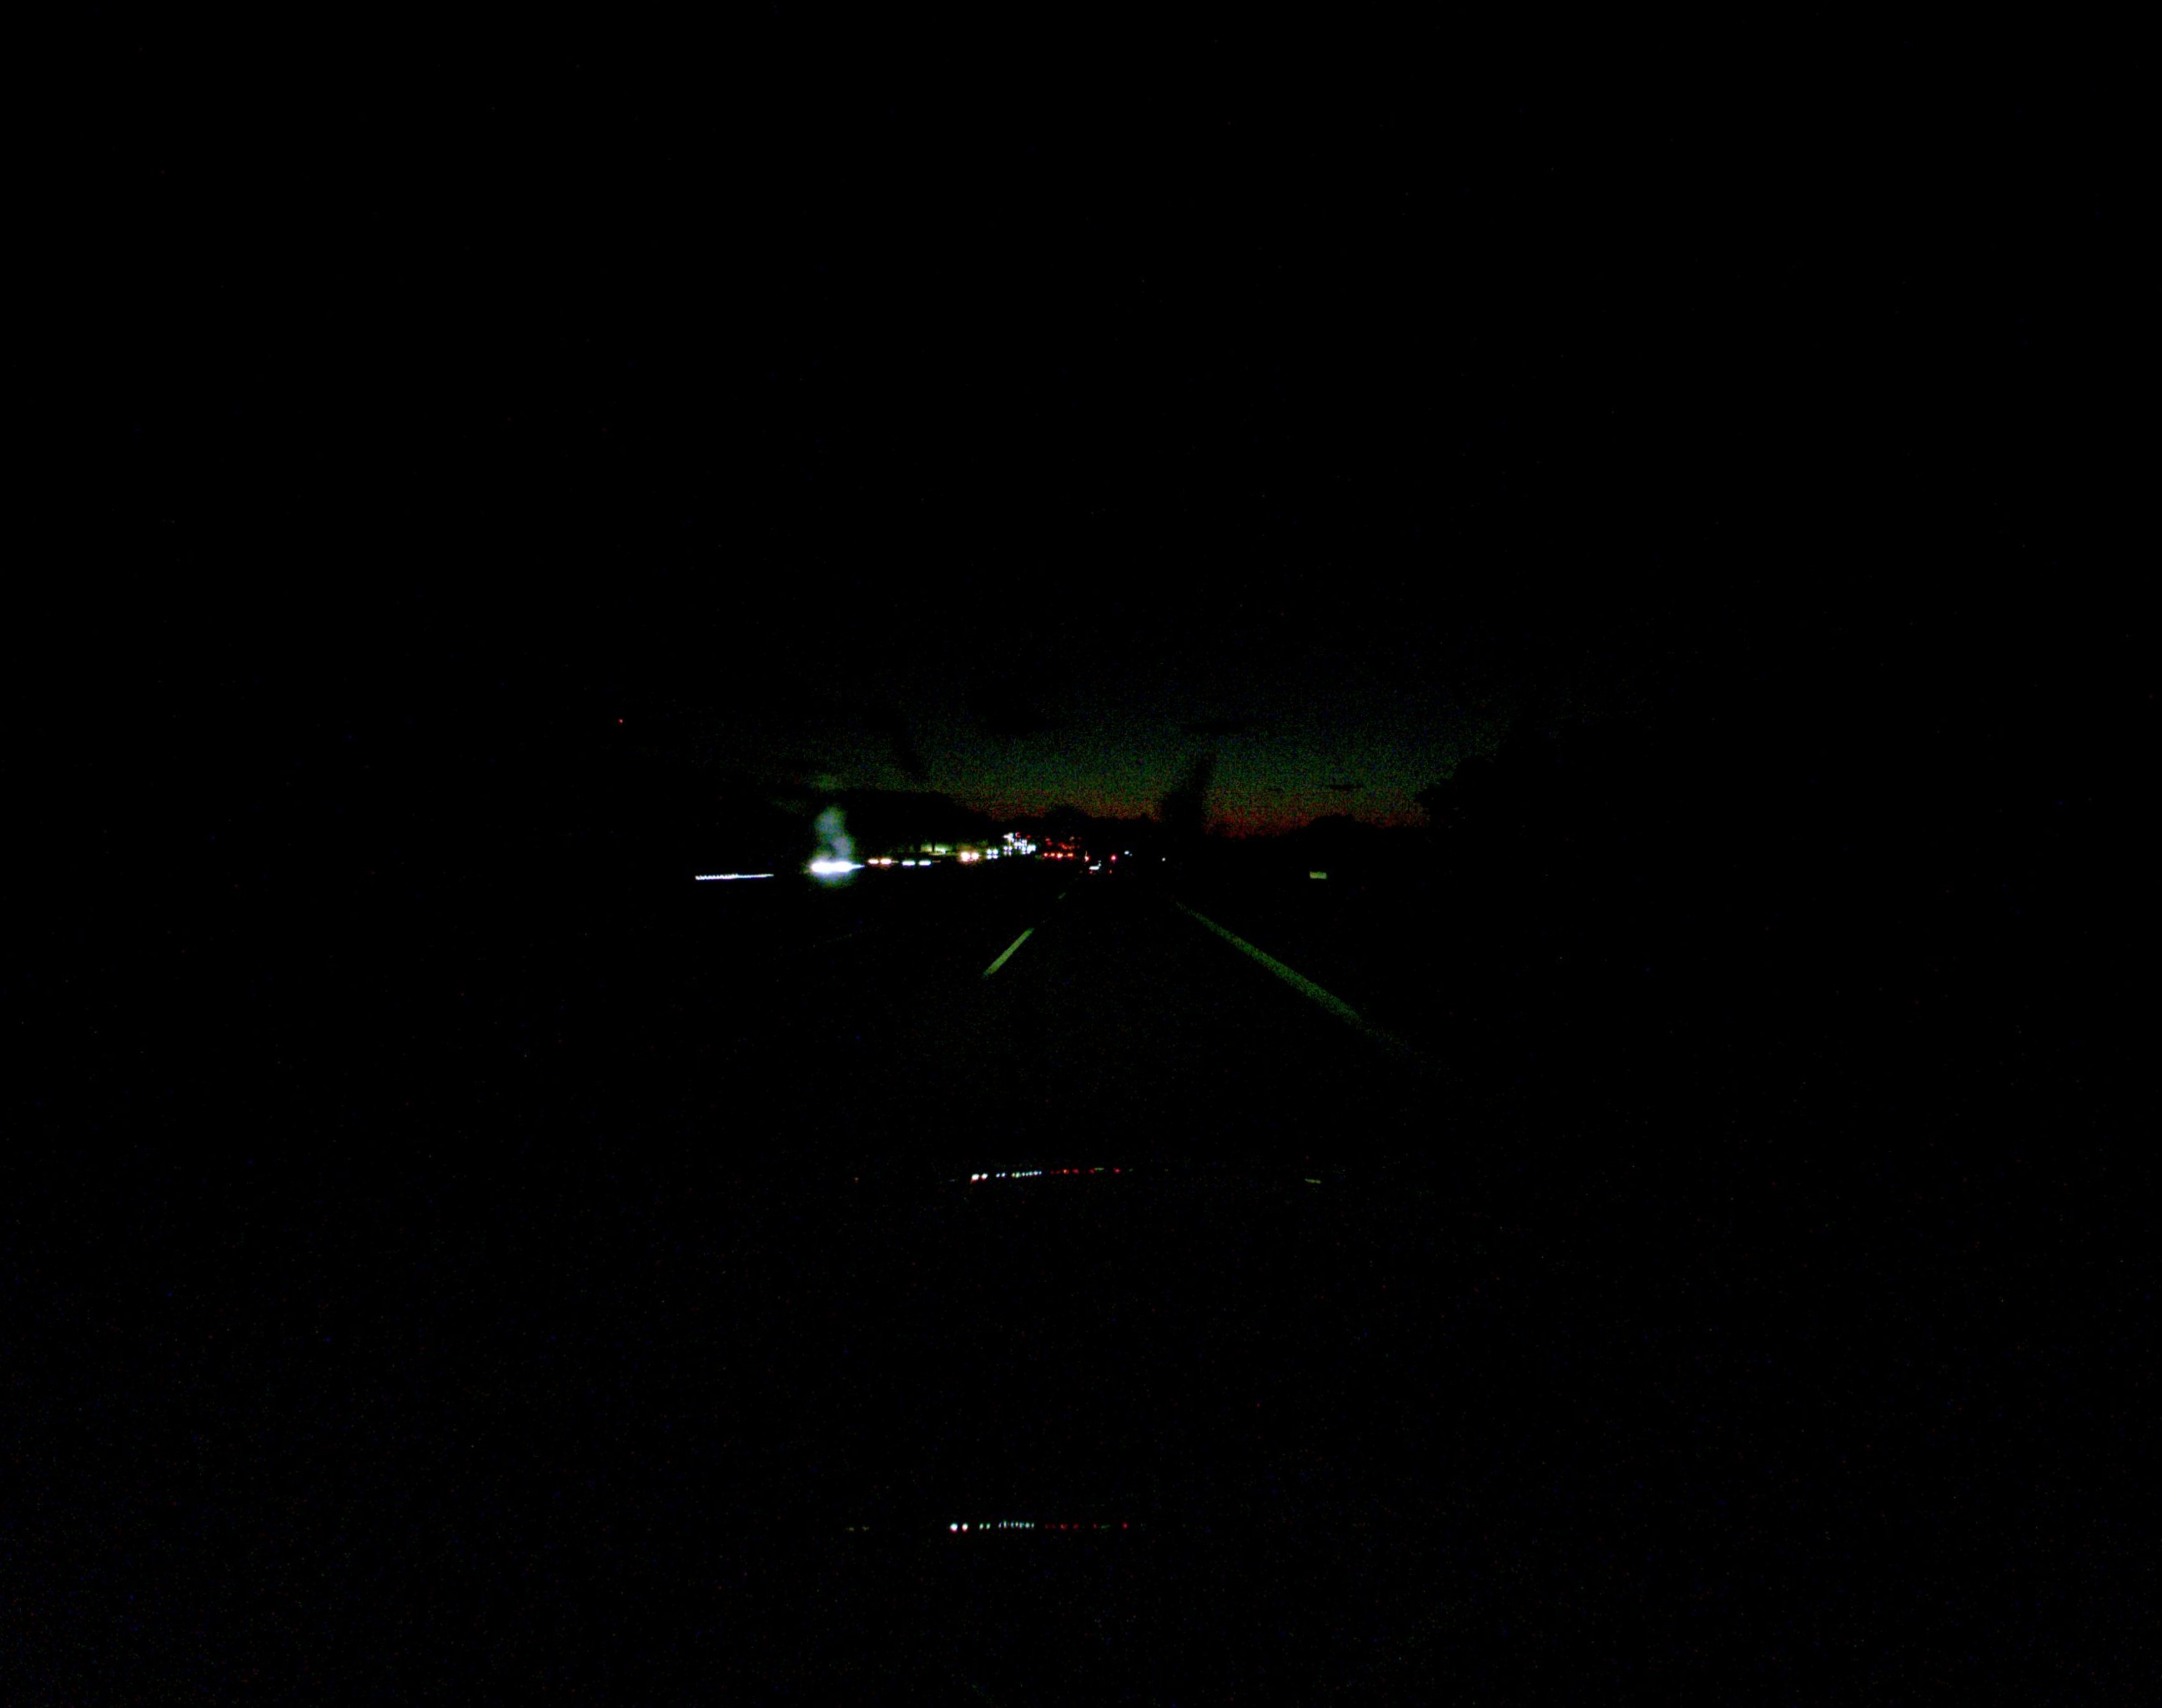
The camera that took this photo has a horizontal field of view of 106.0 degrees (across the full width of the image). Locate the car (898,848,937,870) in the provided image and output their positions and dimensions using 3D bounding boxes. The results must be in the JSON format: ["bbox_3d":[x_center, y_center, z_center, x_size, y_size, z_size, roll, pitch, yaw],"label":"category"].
[{"bbox_3d":[-13.635,0.356,68.310,2.096,1.789,4.872,0,0,2],"label":"car"}]

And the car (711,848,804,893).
[{"bbox_3d":[-13.793,0.693,35.012,2.096,1.789,4.321,0,-1,2],"label":"car"}]

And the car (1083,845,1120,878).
[{"bbox_3d":[1.263,0.480,51.809,2.190,1.955,4.762,-1,0,0],"label":"car"}]

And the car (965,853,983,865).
[{"bbox_3d":[-17.246,0.846,130.901,2.096,1.789,4.653,0,-1,2],"label":"car"}]

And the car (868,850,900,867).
[{"bbox_3d":[-21.225,0.480,88.054,2.096,1.789,4.871,0,-1,2],"label":"car"}]

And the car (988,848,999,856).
[{"bbox_3d":[-21.432,-0.410,198.838,2.097,1.789,4.650,0,-1,0],"label":"car"}]

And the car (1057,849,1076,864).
[{"bbox_3d":[-1.831,0.363,105.812,1.985,1.721,5.947,-1,-1,3],"label":"car"}]

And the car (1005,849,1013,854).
[{"bbox_3d":[-22.948,-0.786,258.033,2.098,1.789,4.650,0,-1,0],"label":"car"}]

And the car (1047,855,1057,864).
[{"bbox_3d":[-4.971,1.007,140.119,1.544,1.431,5.514,-1,-1,1],"label":"car"}]

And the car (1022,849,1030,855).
[{"bbox_3d":[-16.433,-0.694,242.503,2.098,1.789,4.648,0,-1,-1],"label":"car"}]

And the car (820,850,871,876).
[{"bbox_3d":[-17.027,0.597,59.085,2.096,1.789,4.872,0,0,2],"label":"car"}]
